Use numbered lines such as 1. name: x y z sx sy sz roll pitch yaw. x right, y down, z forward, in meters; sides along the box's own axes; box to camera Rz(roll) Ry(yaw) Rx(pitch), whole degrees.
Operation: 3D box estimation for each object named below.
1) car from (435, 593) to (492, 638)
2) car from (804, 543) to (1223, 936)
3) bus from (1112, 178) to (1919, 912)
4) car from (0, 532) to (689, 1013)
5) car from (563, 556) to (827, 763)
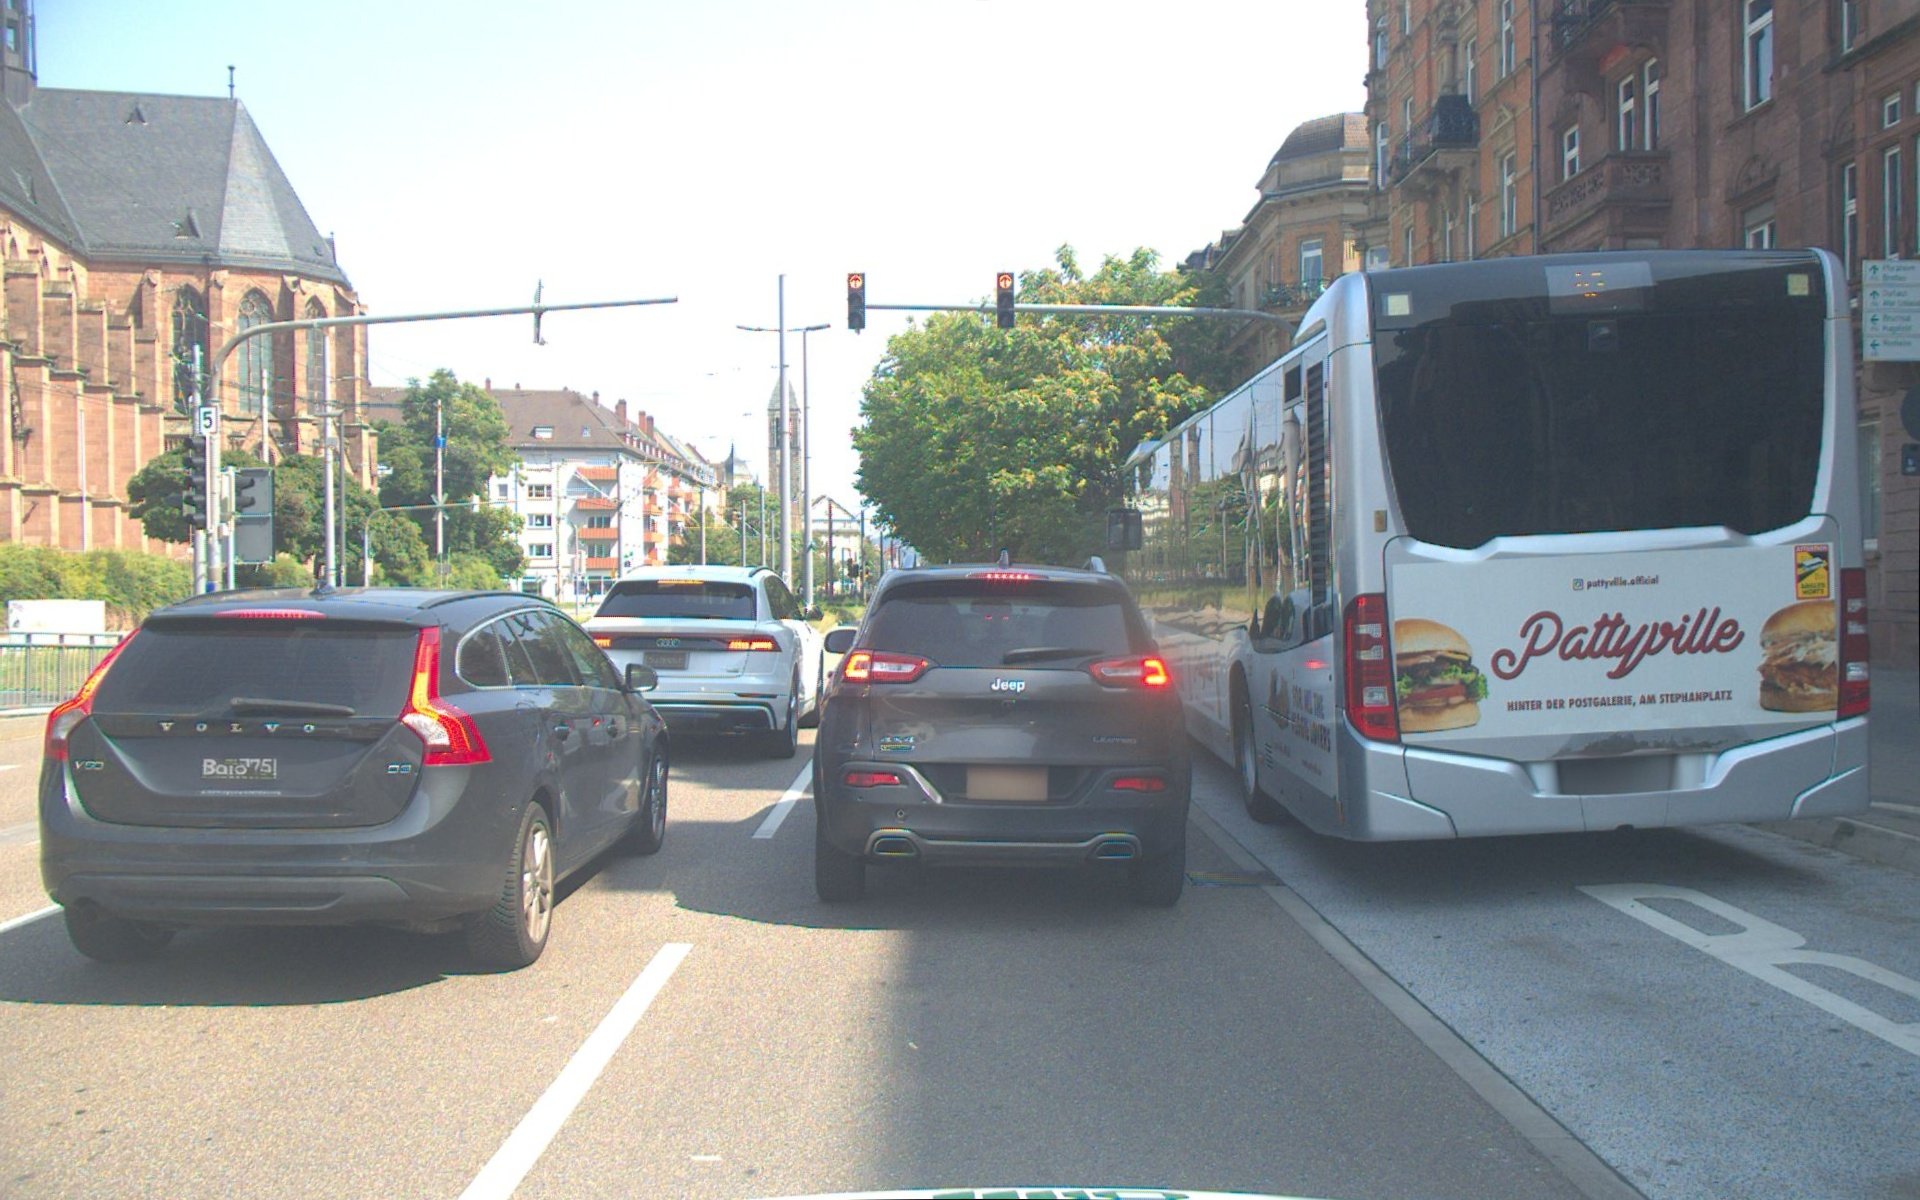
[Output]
1. car: -17.508 0.514 58.203 1.720 1.460 4.548 -2 1 -18
2. car: 0.240 0.586 9.309 1.795 1.680 4.308 1 0 0
3. bus: 3.131 -0.276 13.447 2.687 3.161 11.957 -3 0 1
4. car: -2.476 0.580 7.846 1.712 1.642 4.307 1 0 -1
5. car: -2.334 0.466 15.659 1.863 1.680 4.308 0 1 -1
